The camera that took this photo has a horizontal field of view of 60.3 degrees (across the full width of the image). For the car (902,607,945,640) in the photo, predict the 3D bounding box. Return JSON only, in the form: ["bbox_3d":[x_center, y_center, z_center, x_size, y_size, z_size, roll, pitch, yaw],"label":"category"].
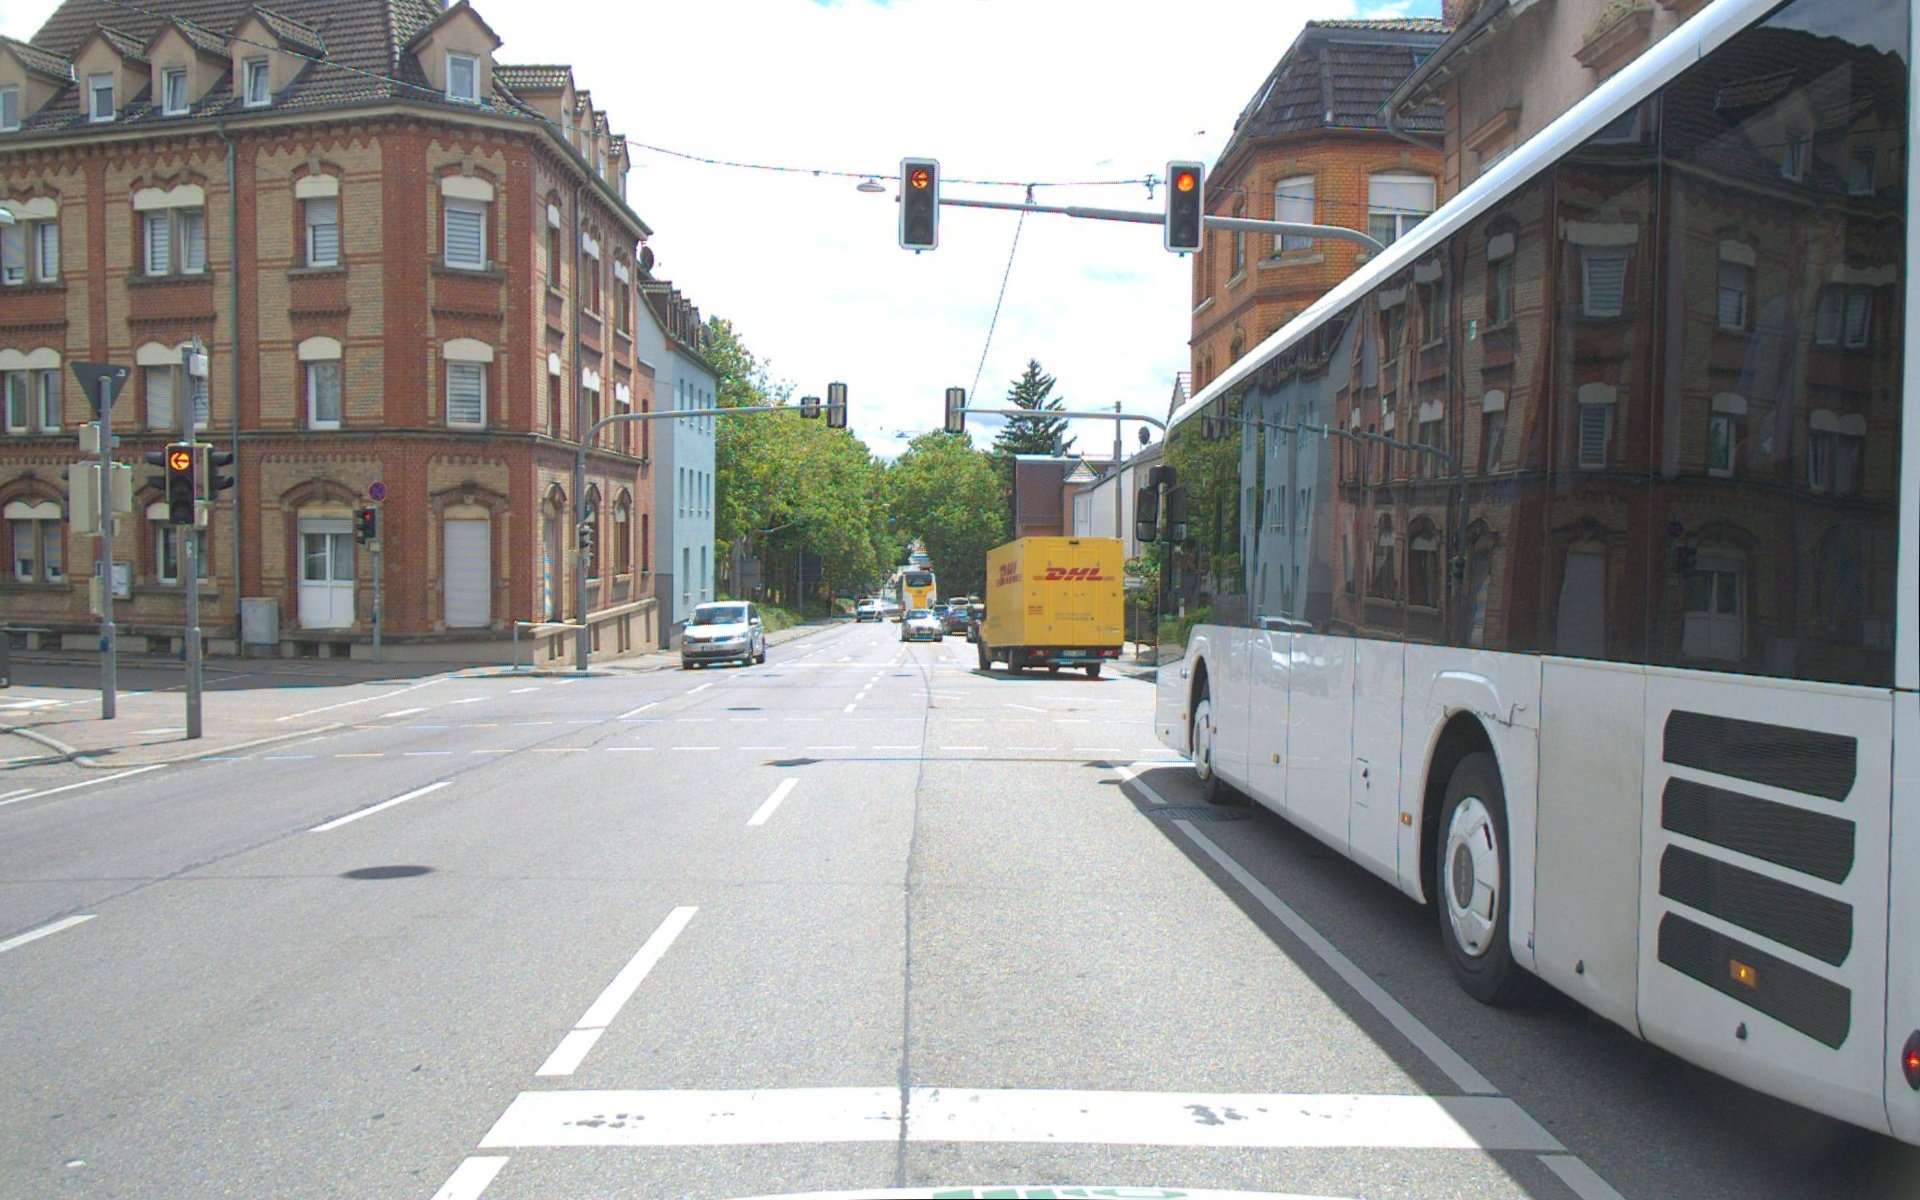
[{"bbox_3d":[-1.601,1.021,73.641,1.827,1.391,4.546,0,0,-1],"label":"car"}]

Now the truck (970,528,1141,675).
[{"bbox_3d":[1.981,0.039,37.099,2.494,2.964,6.559,1,0,-9],"label":"truck"}]

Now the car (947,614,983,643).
[{"bbox_3d":[0.221,1.493,87.697,1.827,1.391,4.546,0,0,-1],"label":"car"}]

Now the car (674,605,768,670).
[{"bbox_3d":[-6.250,0.953,43.636,1.896,1.591,4.388,0,0,-1],"label":"car"}]

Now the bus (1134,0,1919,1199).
[{"bbox_3d":[3.185,-0.272,9.411,2.845,3.571,12.484,1,0,-1],"label":"bus"}]

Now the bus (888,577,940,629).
[{"bbox_3d":[-3.565,0.226,125.058,3.236,3.694,11.232,-1,0,-5],"label":"bus"}]

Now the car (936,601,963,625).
[{"bbox_3d":[-0.619,0.761,97.913,1.576,1.400,3.999,0,0,-1],"label":"car"}]

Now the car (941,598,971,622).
[{"bbox_3d":[-0.324,0.778,129.388,2.050,1.862,4.139,0,0,-4],"label":"car"}]

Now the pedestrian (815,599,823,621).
[{"bbox_3d":[-11.587,0.850,136.208,0.594,1.789,0.653,0,0,-2],"label":"pedestrian"}]

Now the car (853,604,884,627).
[{"bbox_3d":[-6.887,1.149,124.623,2.162,1.641,4.546,0,0,-1],"label":"car"}]
